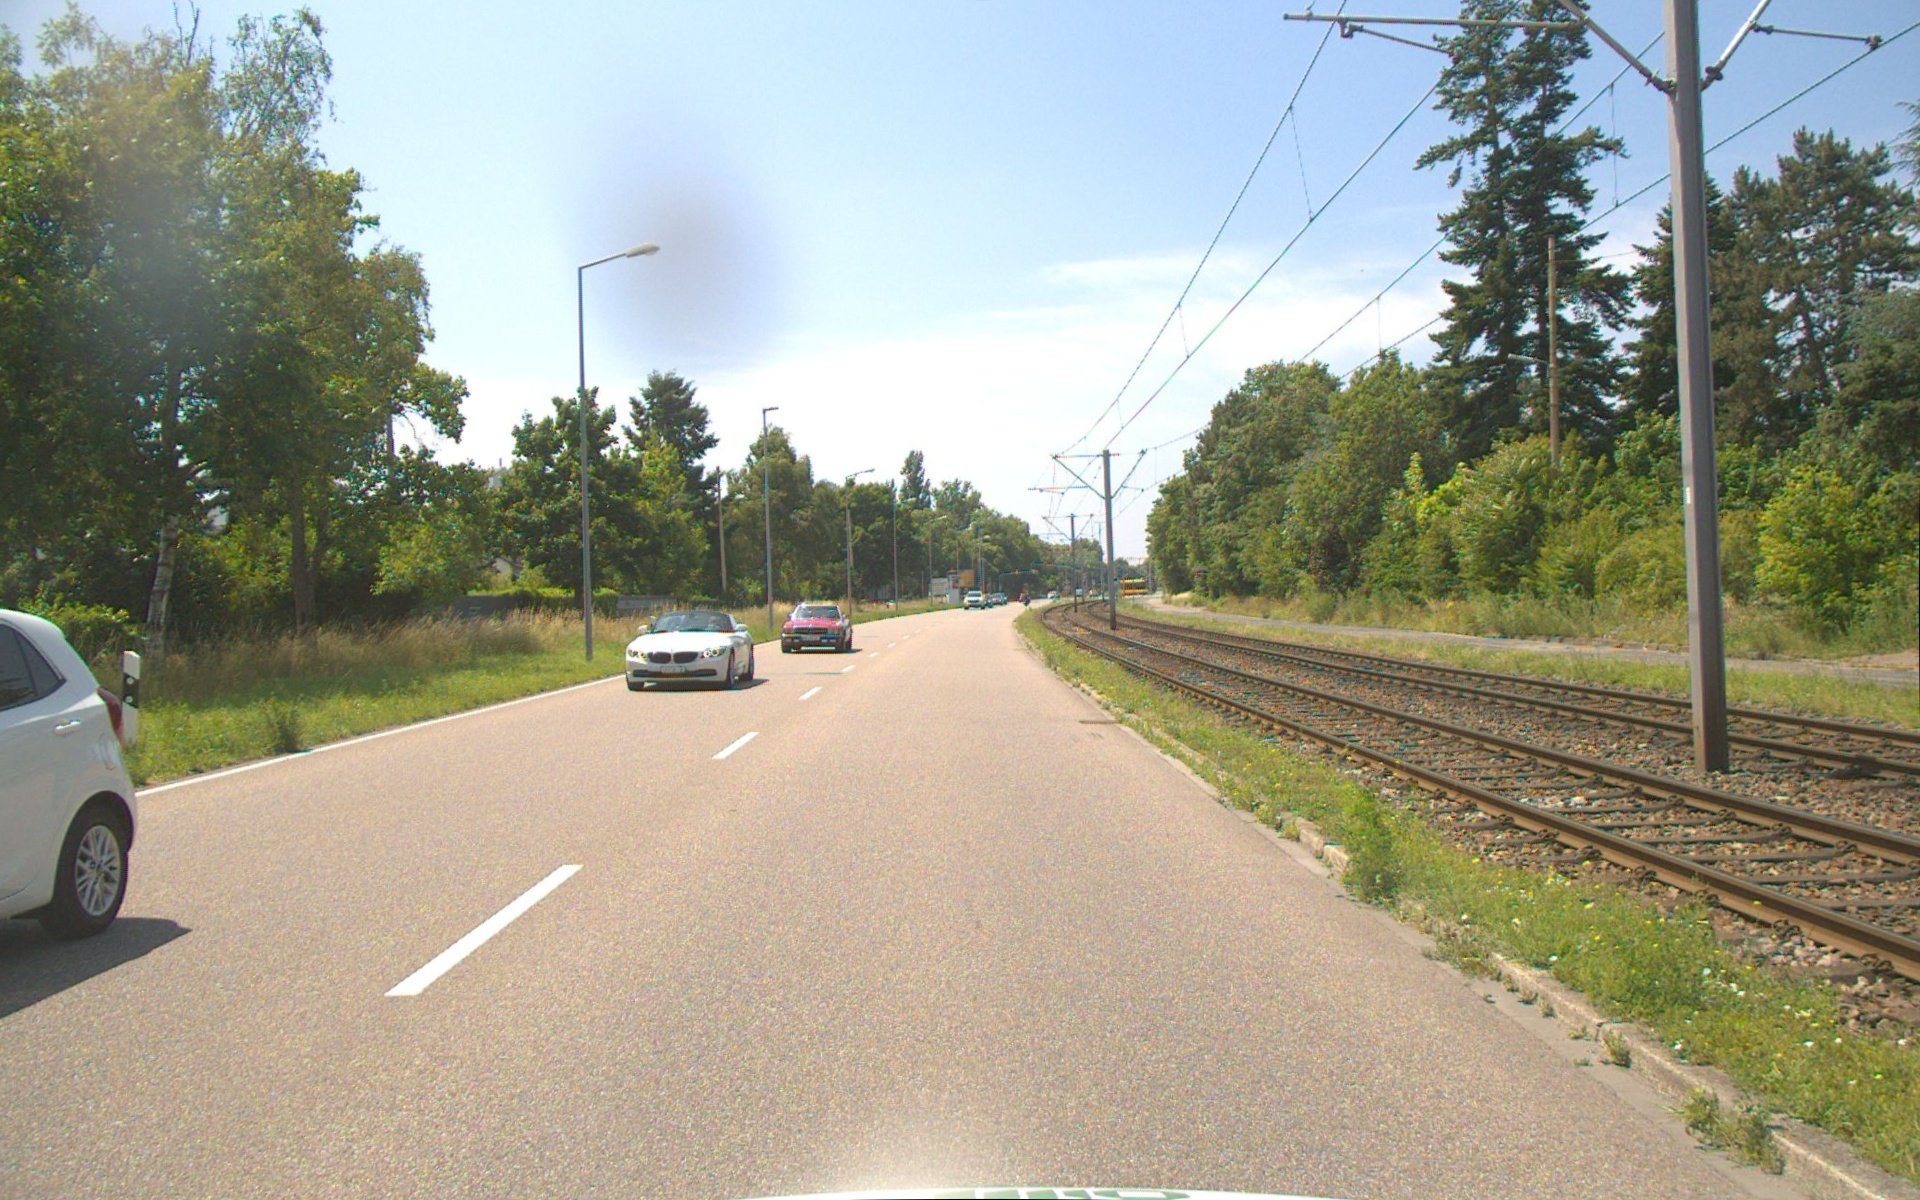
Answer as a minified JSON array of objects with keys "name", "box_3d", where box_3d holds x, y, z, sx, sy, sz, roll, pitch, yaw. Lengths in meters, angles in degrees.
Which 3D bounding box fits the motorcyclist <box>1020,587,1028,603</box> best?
[{"name":"motorcyclist","box_3d":[7.578,-0.584,196.724,0.873,1.938,1.016,-1,0,3]}]

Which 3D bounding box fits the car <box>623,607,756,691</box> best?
[{"name":"car","box_3d":[-4.537,0.788,28.231,1.648,1.271,3.908,-1,0,-1]}]

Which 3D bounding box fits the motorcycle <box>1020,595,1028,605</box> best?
[{"name":"motorcycle","box_3d":[7.621,-0.029,196.871,0.950,1.137,2.734,-1,0,3]}]

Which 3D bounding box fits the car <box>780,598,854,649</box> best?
[{"name":"car","box_3d":[-3.978,0.638,46.429,1.713,1.324,4.253,-1,0,0]}]

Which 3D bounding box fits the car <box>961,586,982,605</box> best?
[{"name":"car","box_3d":[1.120,-0.428,162.751,1.895,1.827,4.713,-1,0,2]}]

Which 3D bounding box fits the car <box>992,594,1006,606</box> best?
[{"name":"car","box_3d":[5.296,0.036,221.860,1.780,1.519,4.364,-1,0,2]}]

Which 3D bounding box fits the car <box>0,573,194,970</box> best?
[{"name":"car","box_3d":[-4.562,0.678,6.153,1.711,1.529,3.706,-1,0,-1]}]

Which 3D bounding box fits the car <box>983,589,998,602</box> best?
[{"name":"car","box_3d":[3.798,-0.594,205.738,1.780,1.519,4.364,-1,0,2]}]
